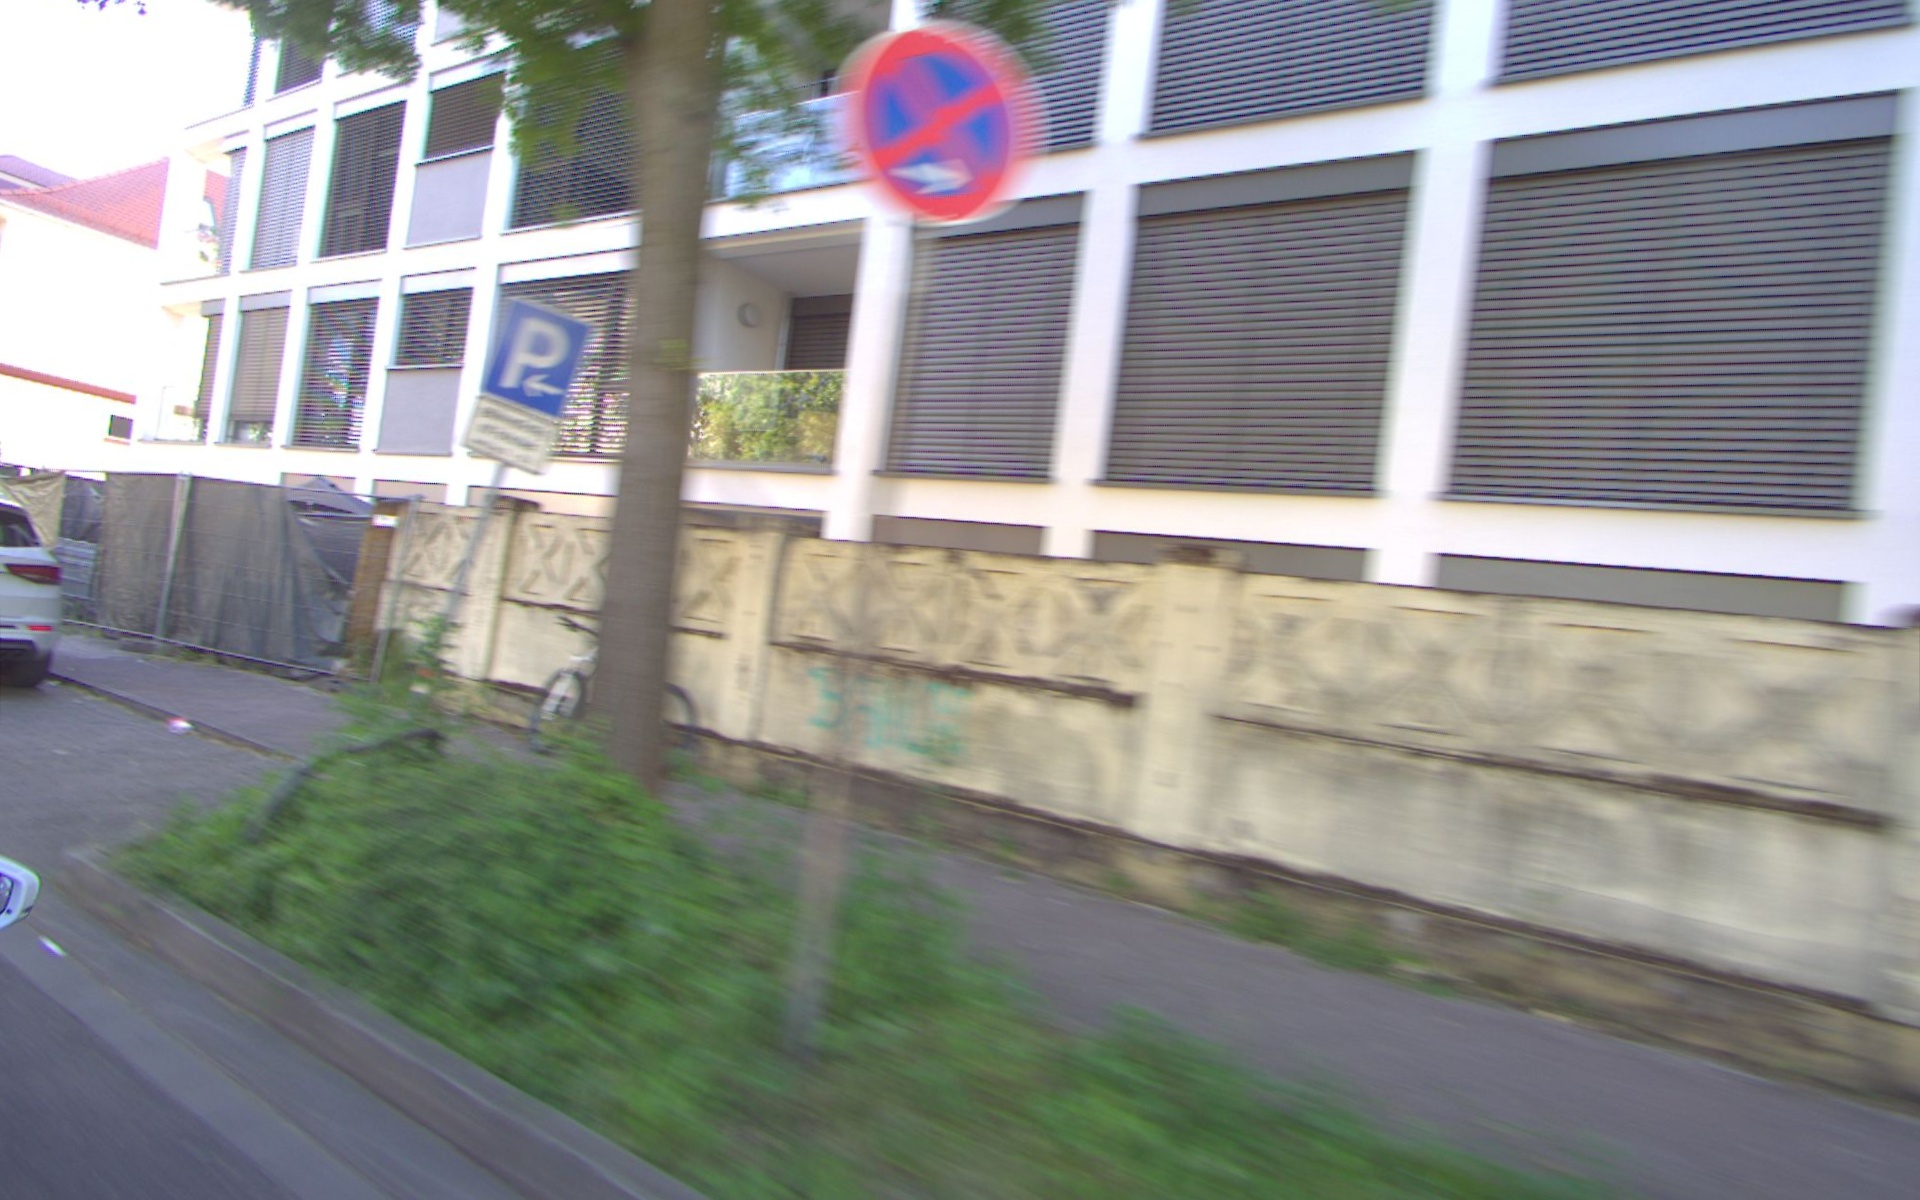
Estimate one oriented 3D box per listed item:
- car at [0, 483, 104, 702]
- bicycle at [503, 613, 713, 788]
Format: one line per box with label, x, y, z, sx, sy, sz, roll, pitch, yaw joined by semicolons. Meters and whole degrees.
car;-9.196;-0.314;8.343;4.056;1.633;1.798;7;-3;30
bicycle;-2.739;0.738;7.737;1.800;1.052;0.337;7;-2;31
